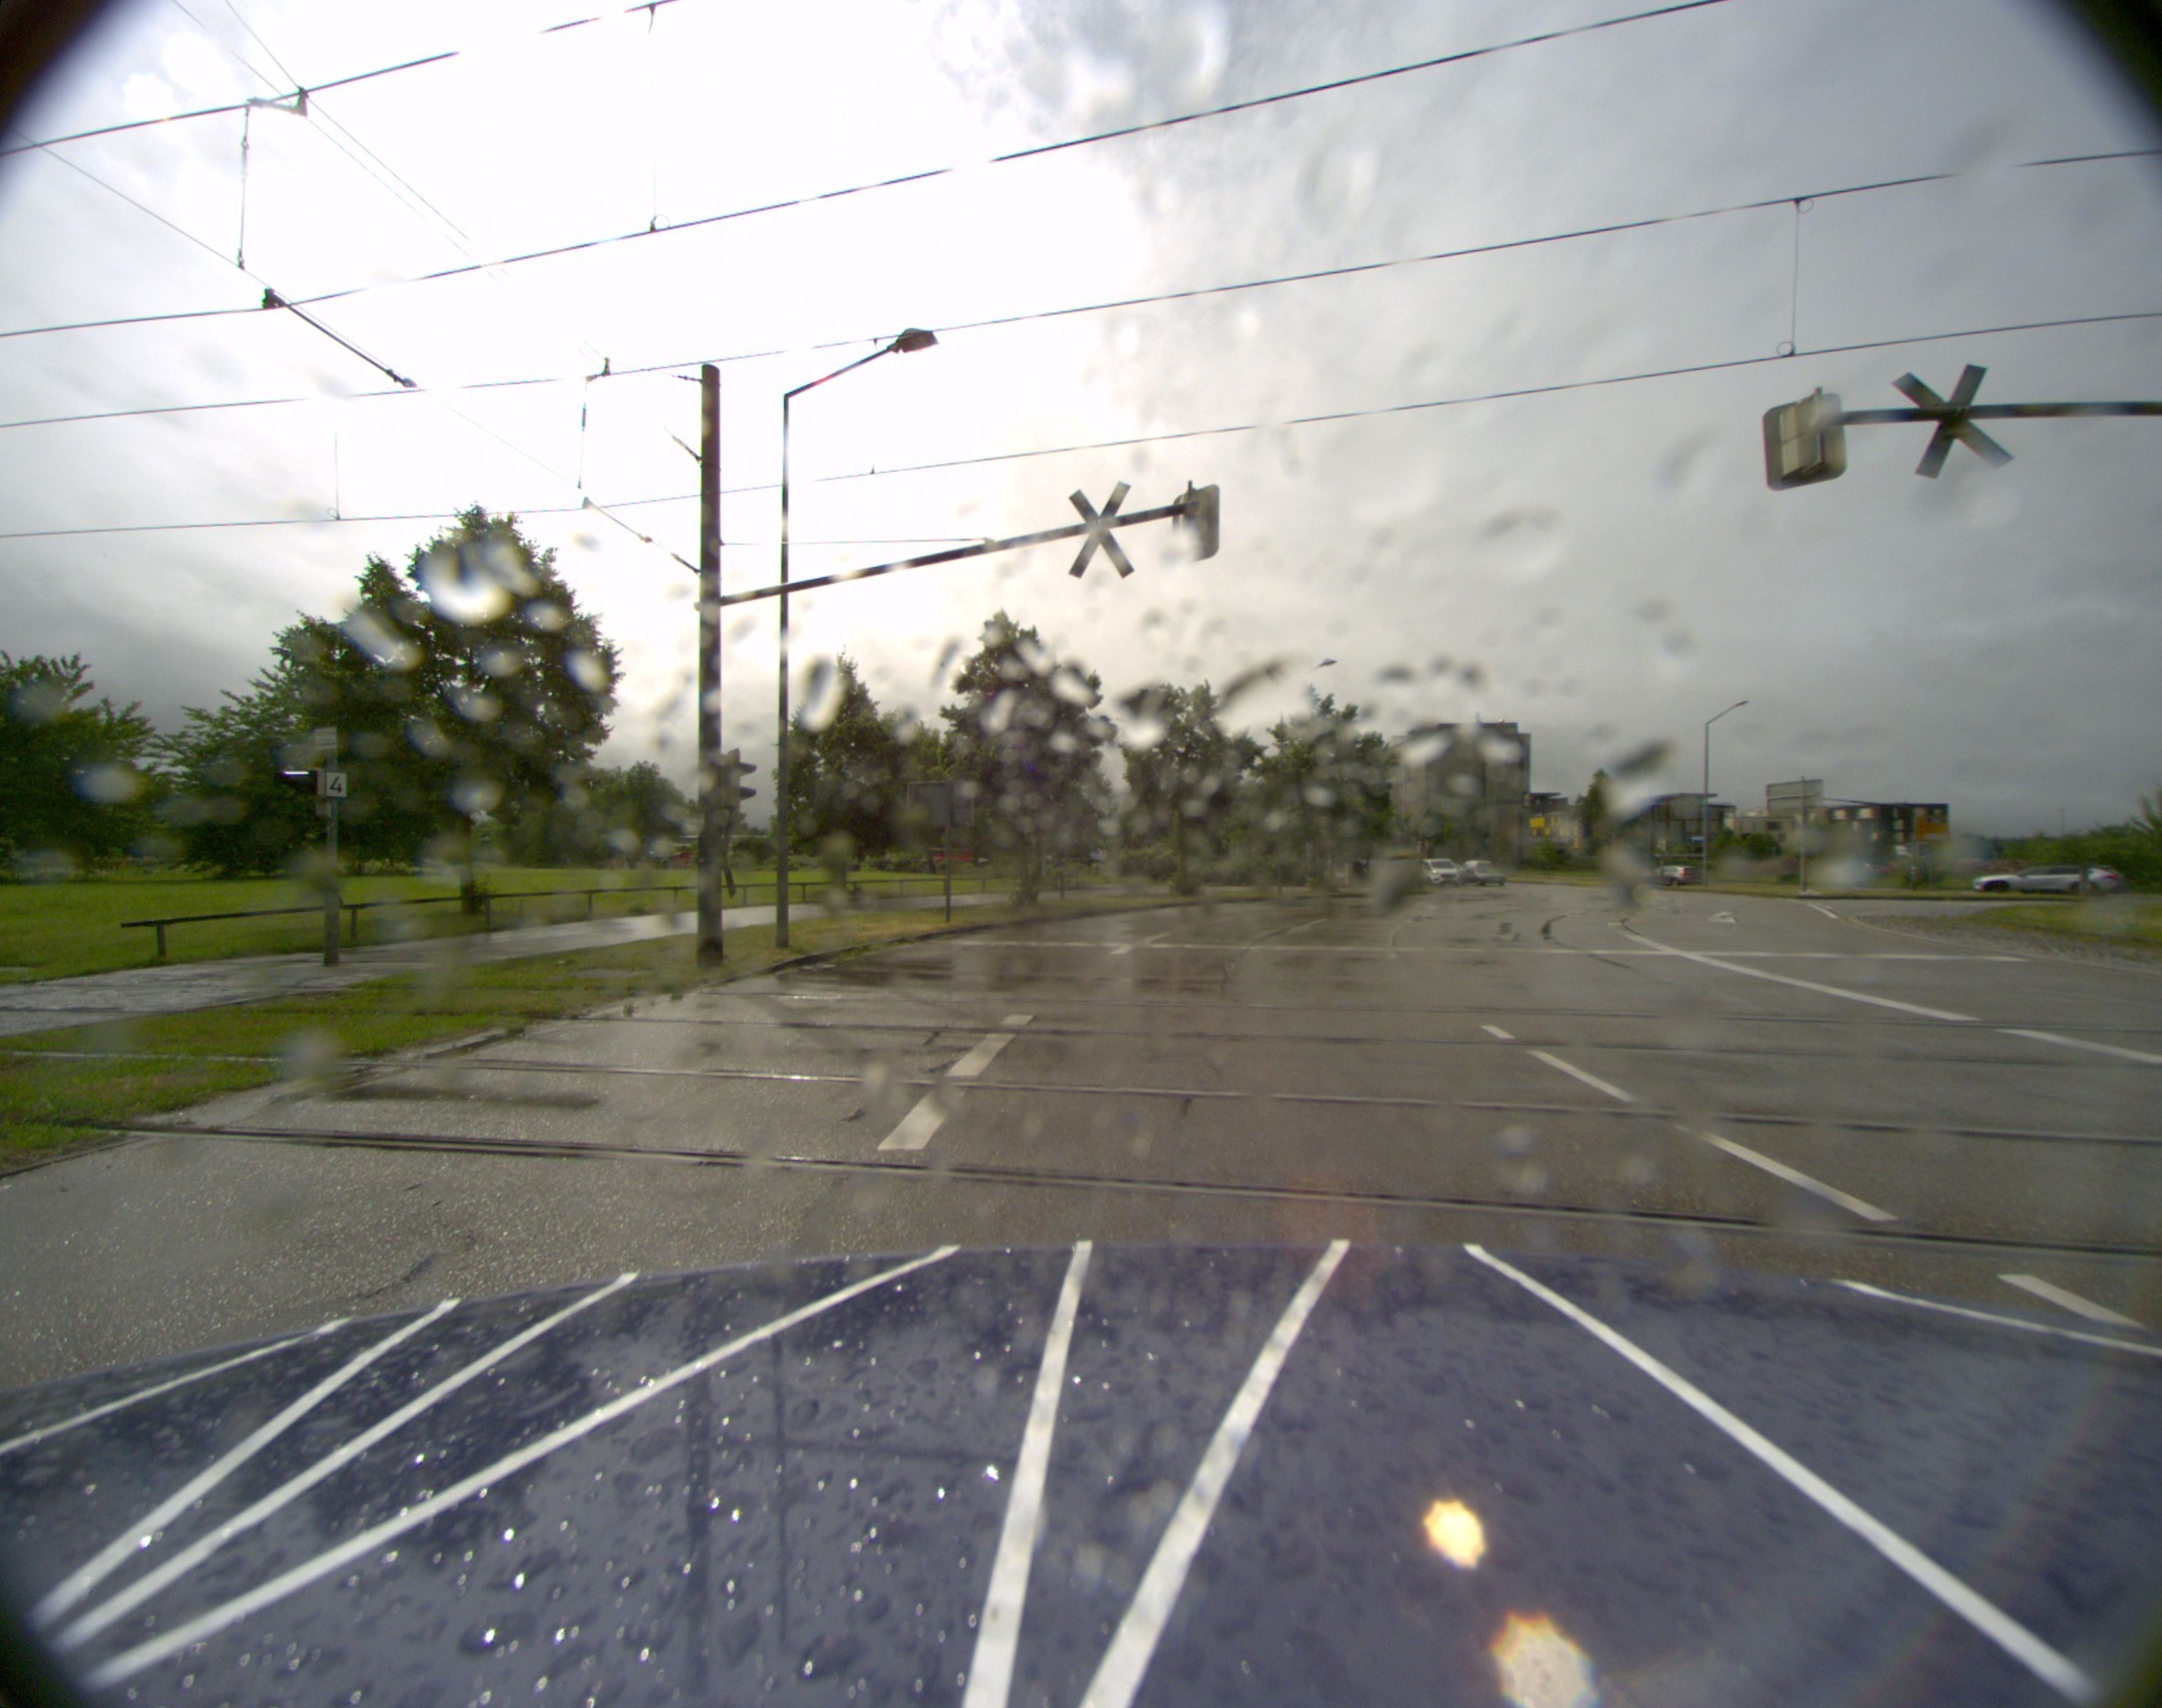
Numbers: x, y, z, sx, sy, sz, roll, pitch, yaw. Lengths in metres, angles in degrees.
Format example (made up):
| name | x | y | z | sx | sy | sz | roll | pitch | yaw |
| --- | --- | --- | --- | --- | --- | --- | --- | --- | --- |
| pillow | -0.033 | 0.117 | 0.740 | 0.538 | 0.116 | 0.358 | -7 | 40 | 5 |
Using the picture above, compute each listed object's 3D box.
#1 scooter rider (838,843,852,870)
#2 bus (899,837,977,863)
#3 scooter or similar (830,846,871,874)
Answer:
| name | x | y | z | sx | sy | sz | roll | pitch | yaw |
| --- | --- | --- | --- | --- | --- | --- | --- | --- | --- |
| scooter rider | -17.924 | 0.179 | 57.766 | 0.768 | 2.001 | 0.708 | -2 | -1 | 38 |
| bus | -20.864 | -0.595 | 111.173 | 10.983 | 3.439 | 1.999 | -1 | -1 | -6 |
| scooter or similar | -17.400 | 0.455 | 57.298 | 3.399 | 2.001 | 1.242 | -2 | -2 | 41 |
